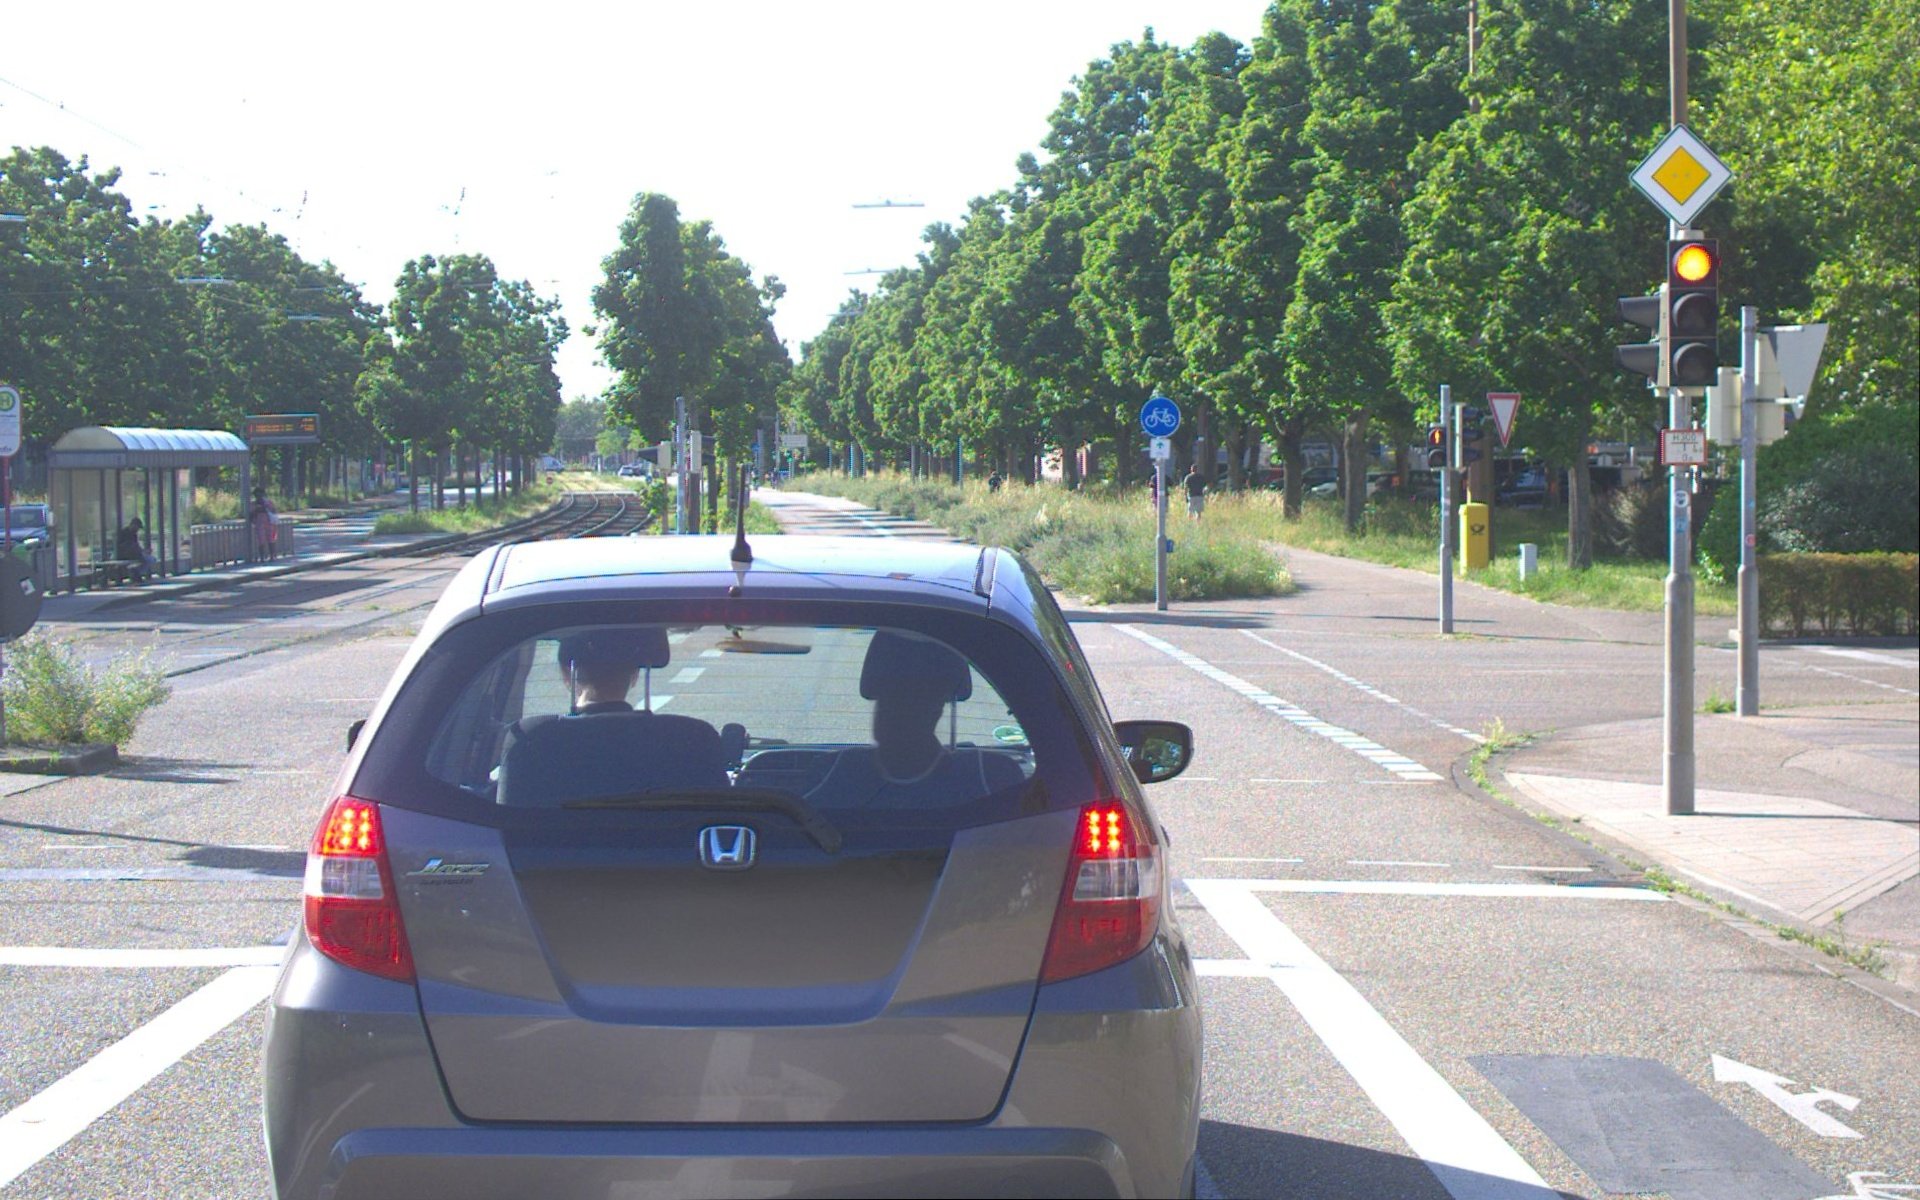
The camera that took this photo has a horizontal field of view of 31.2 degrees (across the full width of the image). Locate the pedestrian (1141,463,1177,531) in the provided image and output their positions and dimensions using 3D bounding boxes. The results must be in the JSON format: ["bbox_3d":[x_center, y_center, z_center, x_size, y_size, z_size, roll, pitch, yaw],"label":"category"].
[{"bbox_3d":[5.569,-2.883,96.025,0.882,1.877,0.875,-1,2,-4],"label":"pedestrian"}]

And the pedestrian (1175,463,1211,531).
[{"bbox_3d":[6.515,-2.870,96.043,0.882,1.877,0.875,-1,2,-4],"label":"pedestrian"}]

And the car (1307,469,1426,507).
[{"bbox_3d":[17.062,-4.706,144.525,4.630,1.550,2.001,-1,2,-6],"label":"car"}]

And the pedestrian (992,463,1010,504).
[{"bbox_3d":[1.691,-4.802,141.890,0.725,1.685,0.821,0,0,-3],"label":"pedestrian"}]

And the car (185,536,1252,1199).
[{"bbox_3d":[-0.409,0.633,7.361,1.701,1.518,3.710,0,1,-1],"label":"car"}]

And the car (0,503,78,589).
[{"bbox_3d":[-21.737,-1.226,78.441,2.093,1.803,4.794,-2,3,-3],"label":"car"}]

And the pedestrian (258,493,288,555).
[{"bbox_3d":[-16.001,-1.775,80.081,0.544,1.442,0.559,-1,1,-1],"label":"pedestrian"}]

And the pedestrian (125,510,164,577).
[{"bbox_3d":[-15.548,-1.081,65.528,0.563,1.252,0.581,-3,1,-1],"label":"pedestrian"}]
